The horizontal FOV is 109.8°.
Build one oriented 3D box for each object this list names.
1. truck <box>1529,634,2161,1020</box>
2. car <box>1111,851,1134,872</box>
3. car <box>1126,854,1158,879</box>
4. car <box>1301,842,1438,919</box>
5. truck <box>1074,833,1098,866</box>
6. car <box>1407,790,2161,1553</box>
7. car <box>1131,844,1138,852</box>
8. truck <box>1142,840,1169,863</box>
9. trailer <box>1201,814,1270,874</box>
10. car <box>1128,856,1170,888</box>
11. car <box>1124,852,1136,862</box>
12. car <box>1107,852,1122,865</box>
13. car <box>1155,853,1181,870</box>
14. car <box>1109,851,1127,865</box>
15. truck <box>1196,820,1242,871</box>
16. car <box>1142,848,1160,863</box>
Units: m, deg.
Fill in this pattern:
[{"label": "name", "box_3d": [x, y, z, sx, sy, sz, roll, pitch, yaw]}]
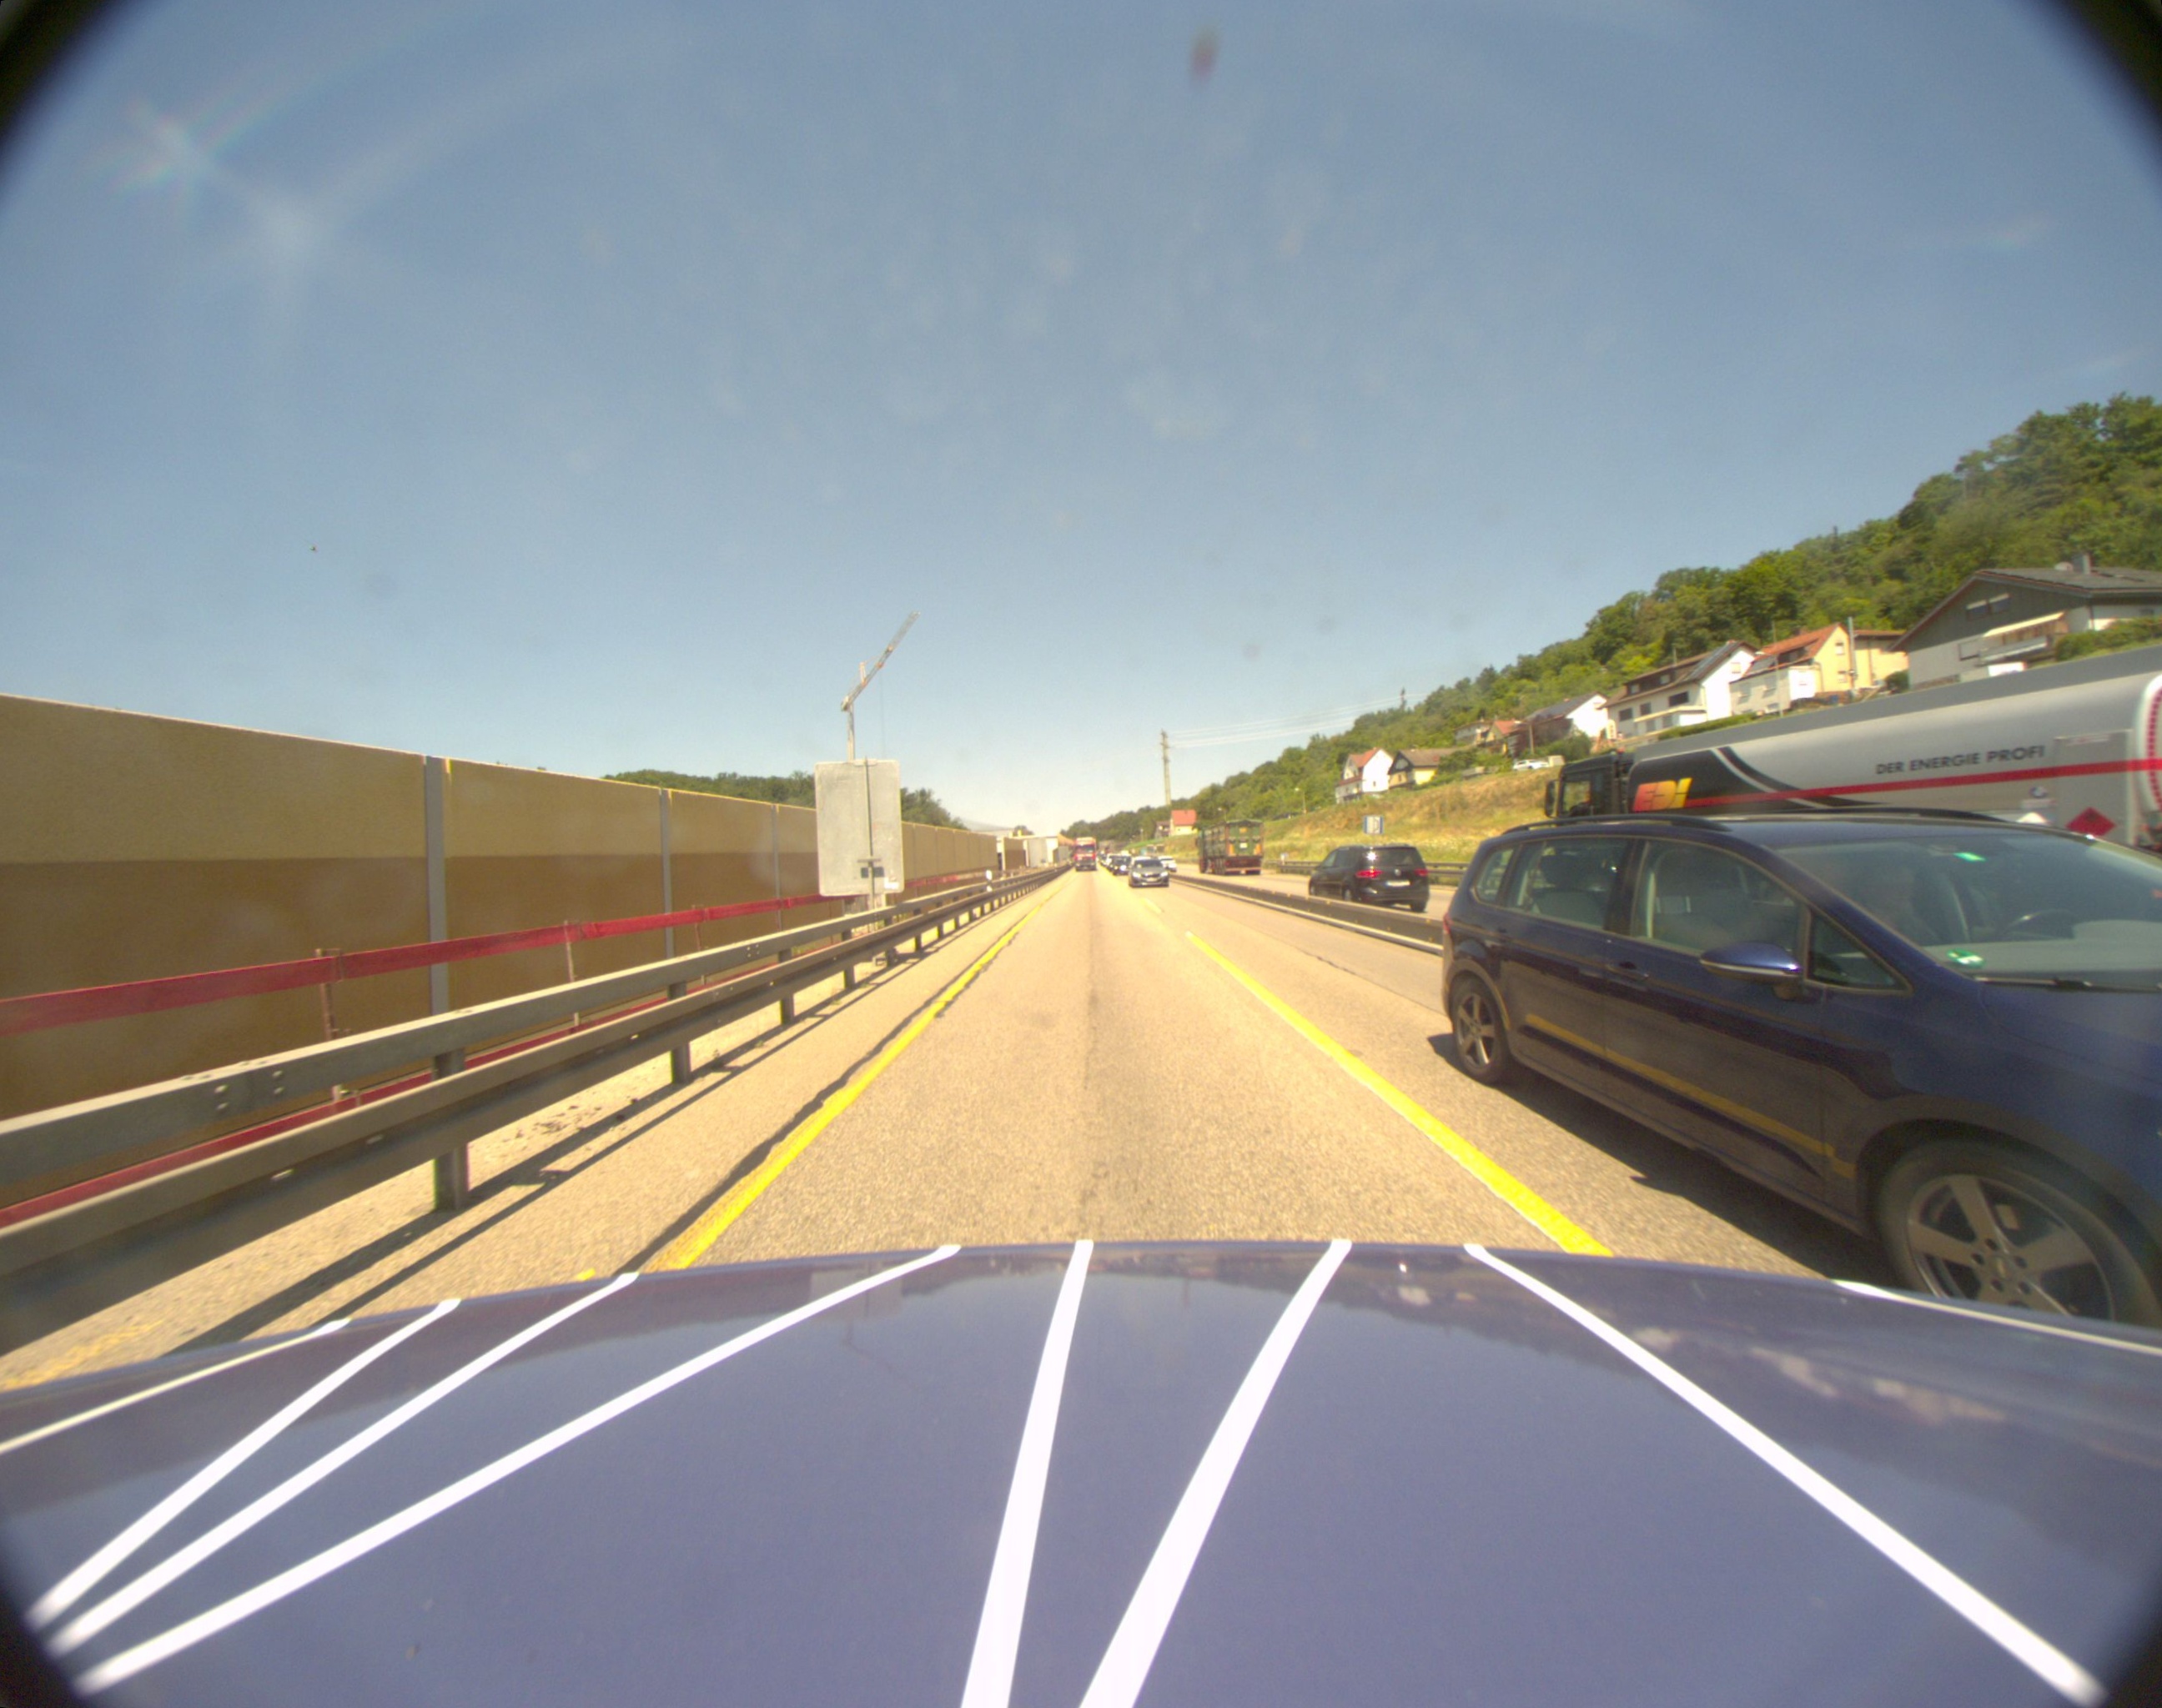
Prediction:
[{"label": "truck", "box_3d": [10.189, -0.272, 10.507, 2.733, 3.124, 8.959, -2, 0, 1]}, {"label": "car", "box_3d": [3.530, 0.632, 65.377, 1.780, 1.727, 4.336, -2, 0, 1]}, {"label": "car", "box_3d": [3.955, 0.802, 49.966, 1.780, 1.447, 4.336, -2, 0, 1]}, {"label": "car", "box_3d": [7.022, 0.583, 19.046, 1.722, 1.625, 4.499, -2, 0, 1]}, {"label": "truck", "box_3d": [0.717, -0.463, 93.742, 2.605, 3.704, 10.537, -2, 0, 1]}, {"label": "car", "box_3d": [3.306, 0.692, 3.307, 1.780, 1.708, 4.652, -2, 0, 1]}, {"label": "car", "box_3d": [16.447, -1.817, 233.305, 1.679, 2.203, 4.044, -2, 0, 0]}, {"label": "truck", "box_3d": [11.927, -0.353, 123.572, 2.769, 3.303, 15.935, -2, 0, 0]}, {"label": "trailer", "box_3d": [11.121, -0.681, 55.906, 2.920, 3.915, 10.526, -2, 0, 1]}, {"label": "car", "box_3d": [3.335, 0.846, 38.018, 1.780, 1.447, 4.336, -2, 0, 1]}, {"label": "car", "box_3d": [8.400, 0.483, 131.035, 1.679, 1.706, 4.044, -2, 0, 0]}, {"label": "car", "box_3d": [4.173, 0.531, 94.900, 1.780, 1.486, 4.336, -2, 0, 1]}, {"label": "car", "box_3d": [7.979, 0.647, 69.951, 1.777, 1.461, 4.440, -2, 0, 0]}, {"label": "car", "box_3d": [3.993, 0.427, 82.033, 1.780, 1.486, 4.336, -2, 0, 1]}, {"label": "truck", "box_3d": [11.168, -0.694, 62.021, 2.902, 3.915, 4.178, -2, 0, 1]}, {"label": "car", "box_3d": [8.597, 0.171, 93.407, 1.816, 1.706, 4.045, -2, 0, 1]}]
